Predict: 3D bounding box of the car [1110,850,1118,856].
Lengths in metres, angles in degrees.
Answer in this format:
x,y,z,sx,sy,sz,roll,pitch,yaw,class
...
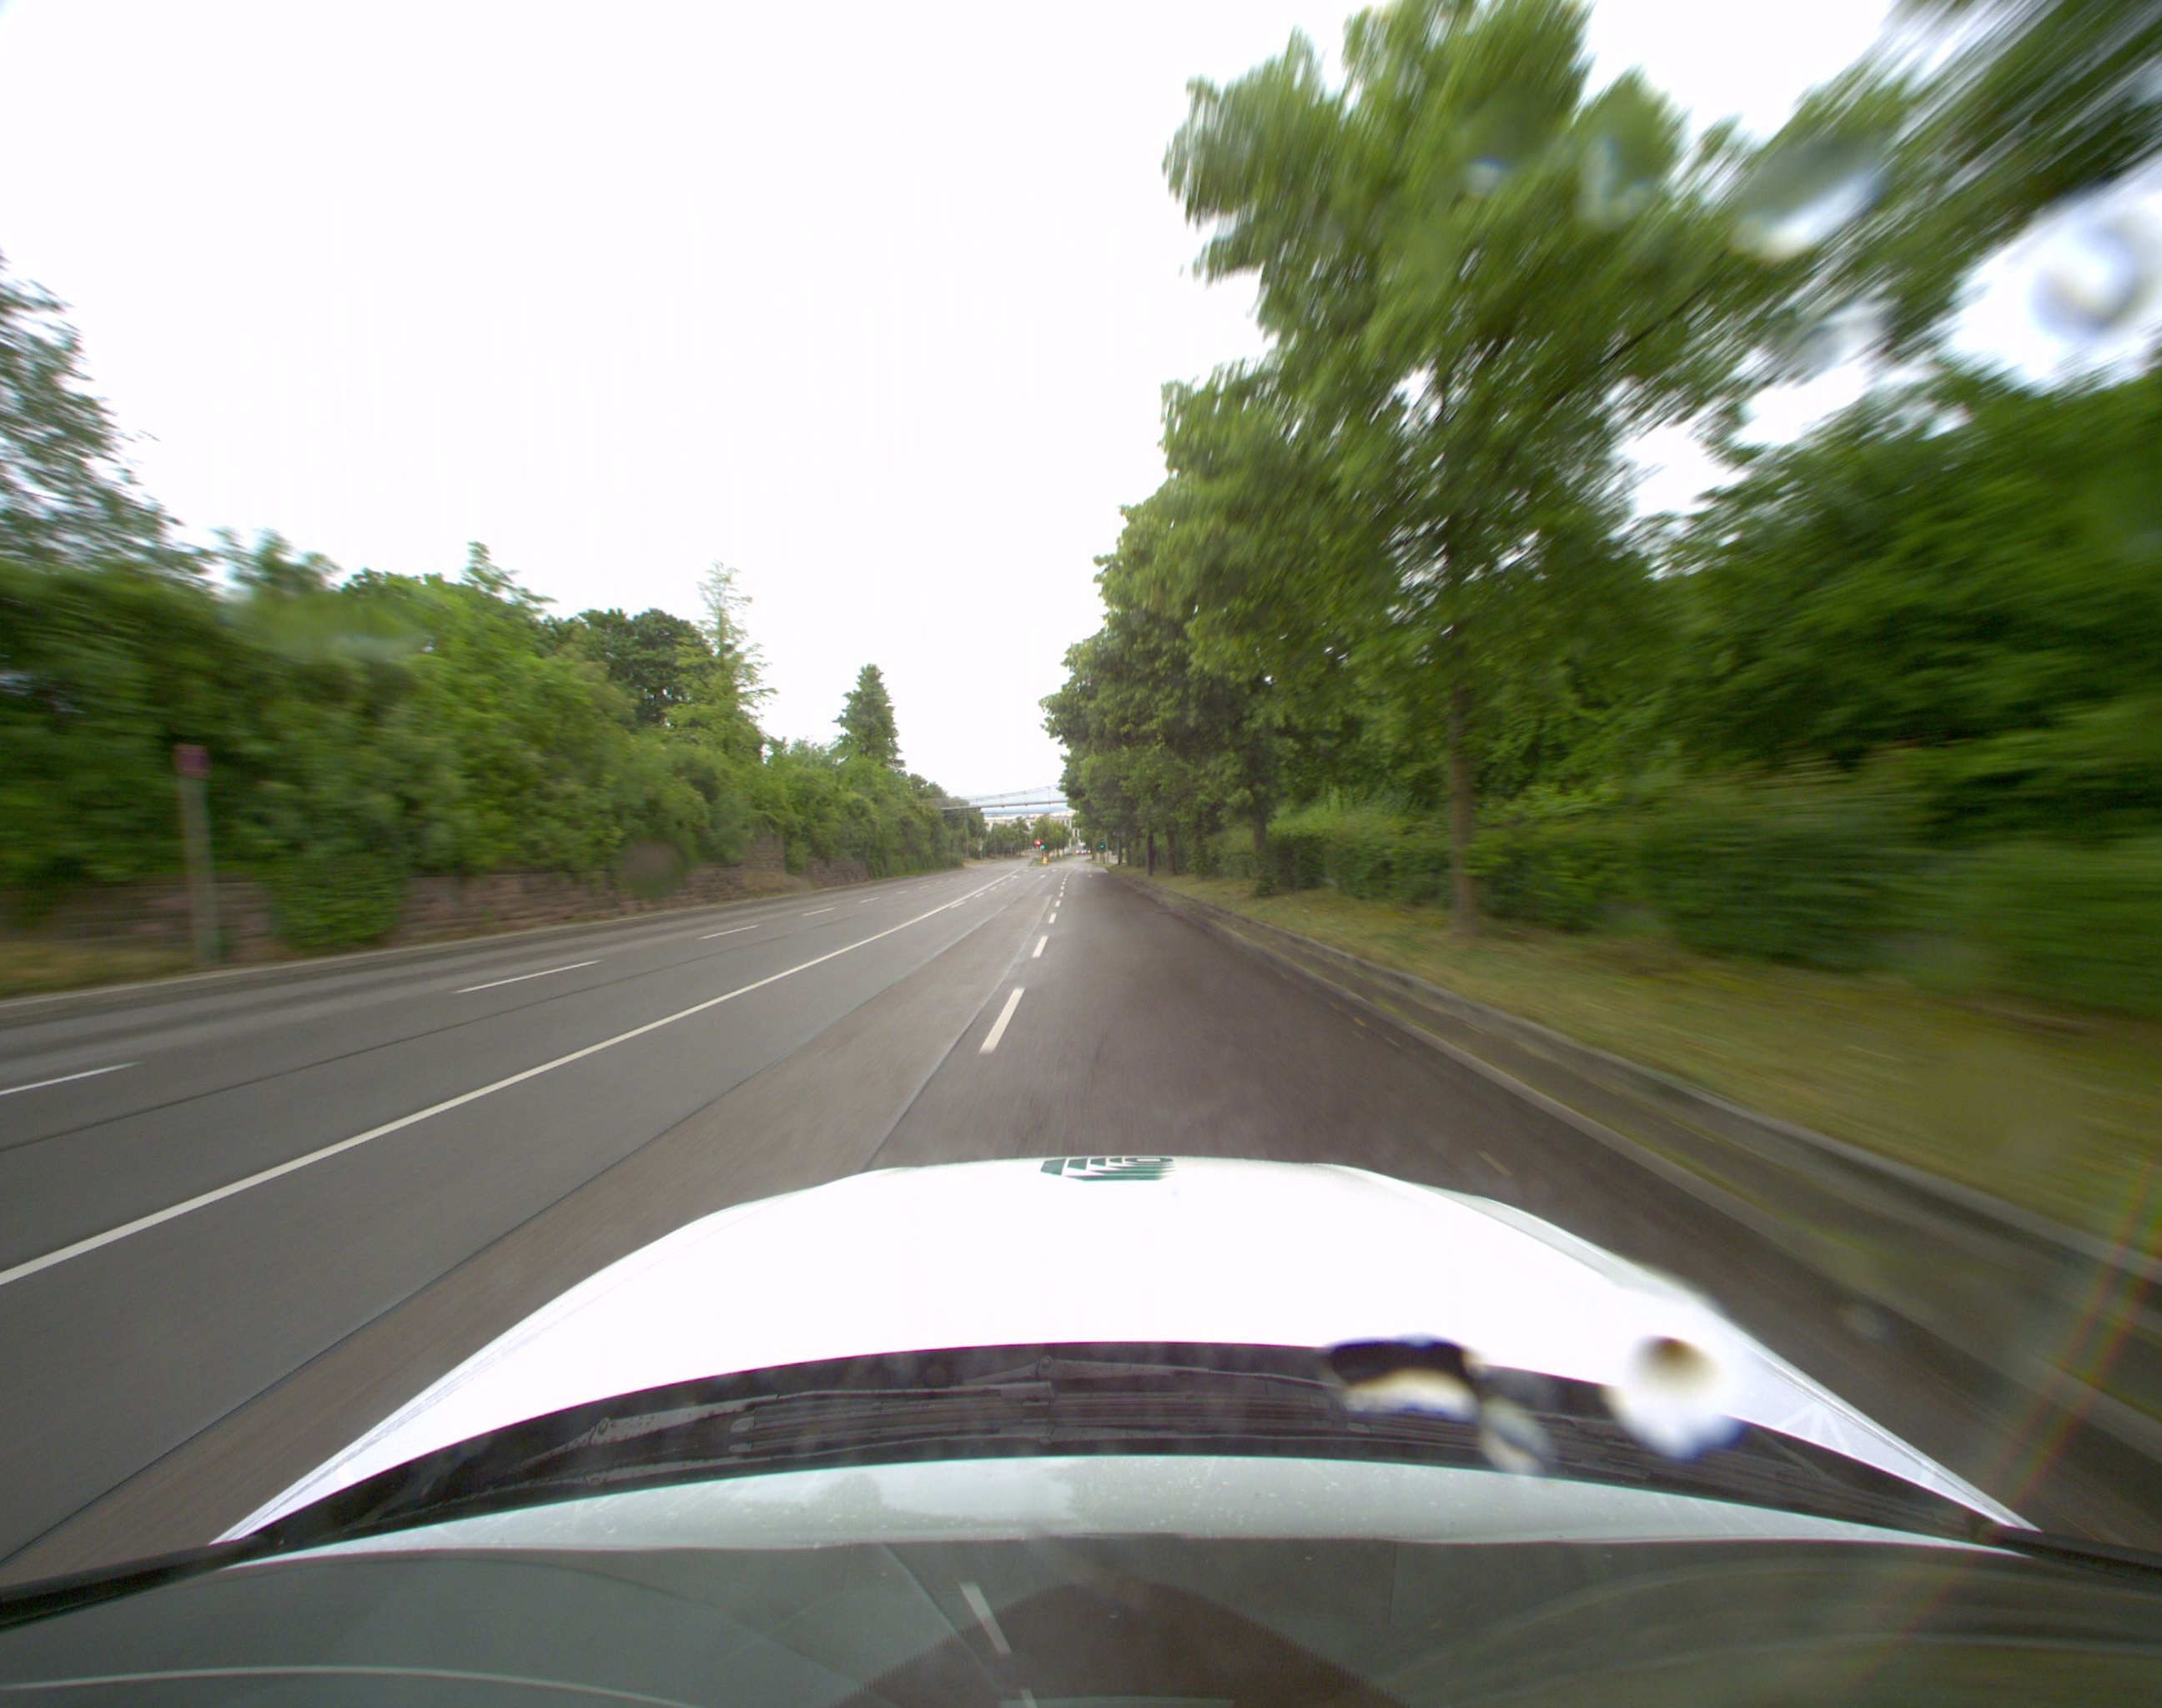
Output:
x,y,z,sx,sy,sz,roll,pitch,yaw,class
9.475,-0.264,234.757,1.838,1.702,3.802,0,-1,9,car
